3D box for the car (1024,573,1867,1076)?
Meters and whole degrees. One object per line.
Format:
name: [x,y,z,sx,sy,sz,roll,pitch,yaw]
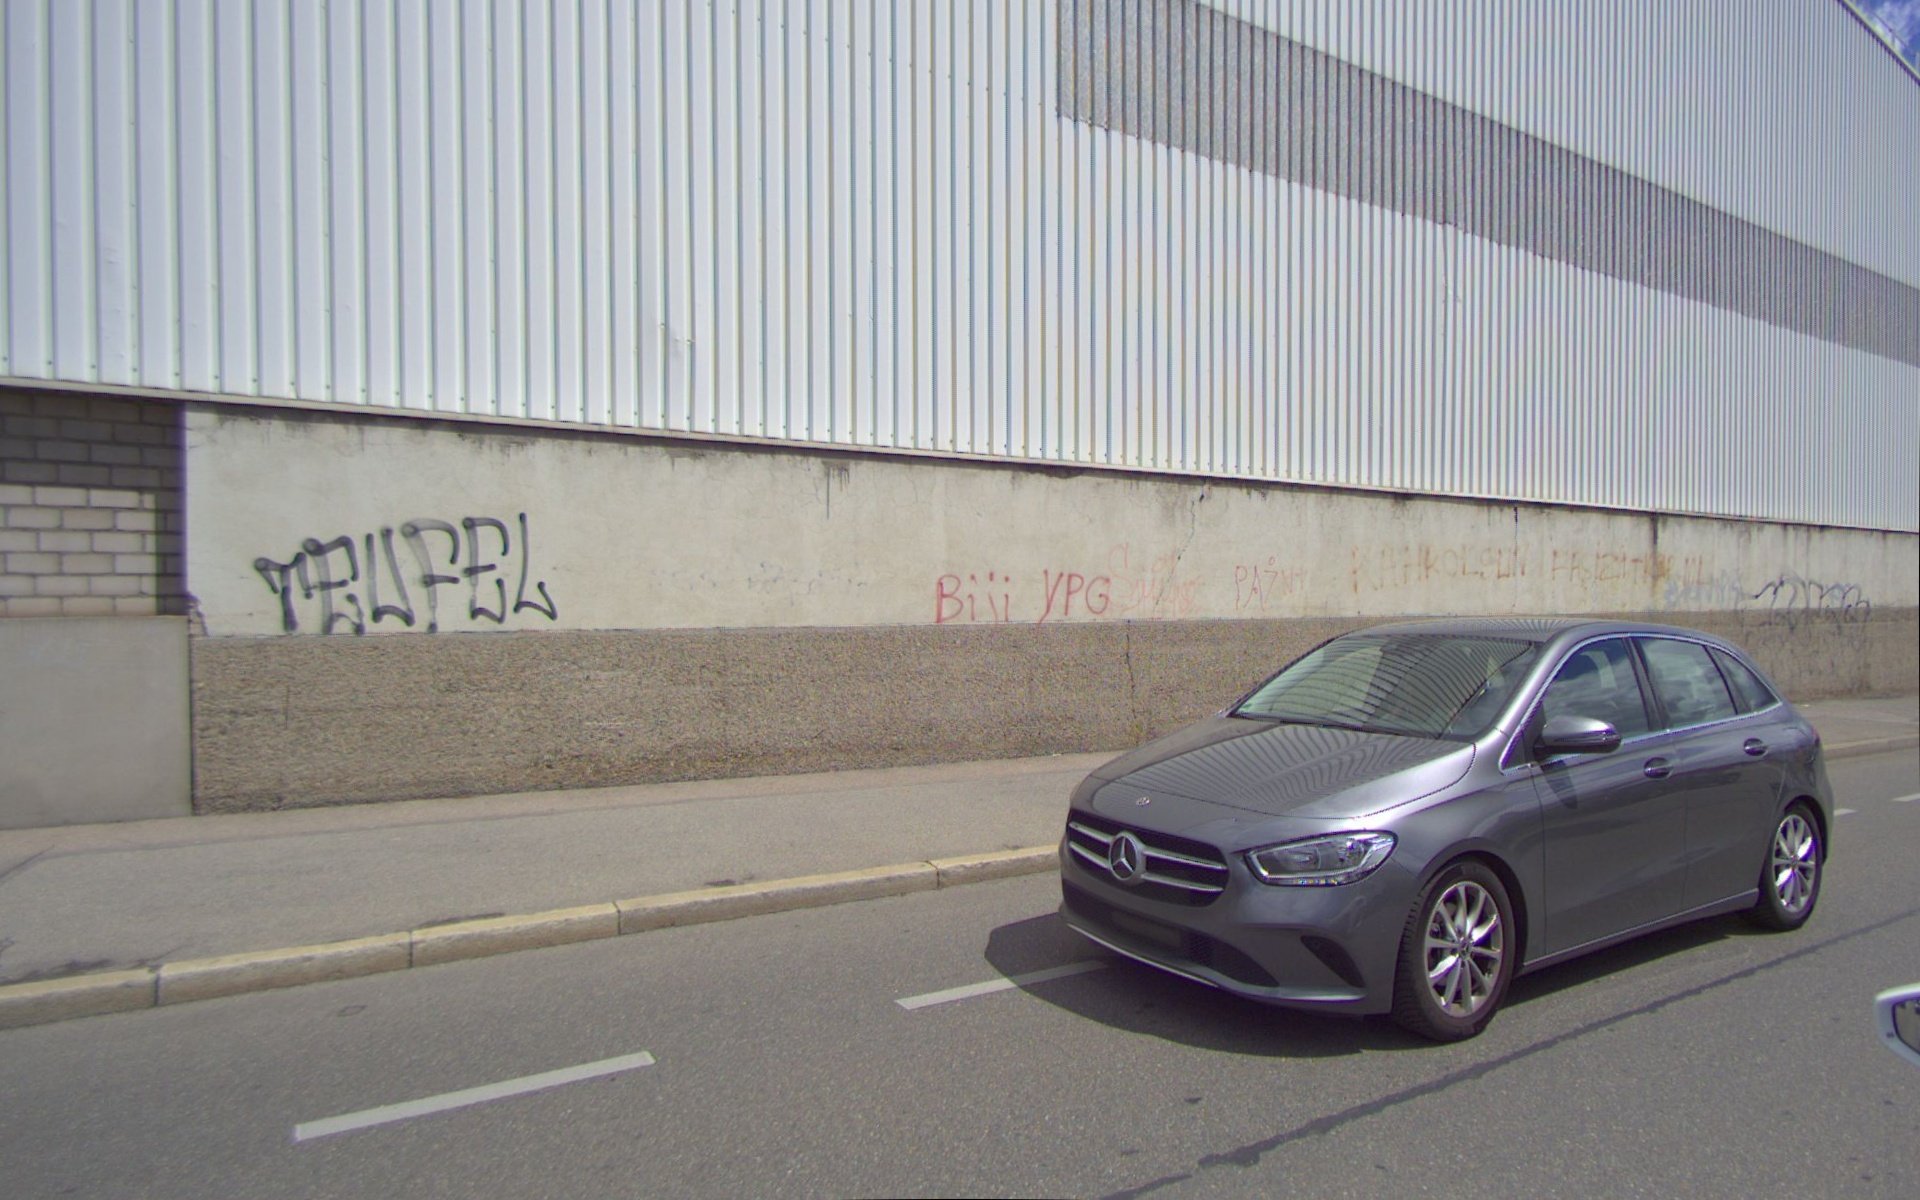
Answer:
car: [2.540,0.818,5.003,4.238,1.576,1.711,2,-4,-31]
